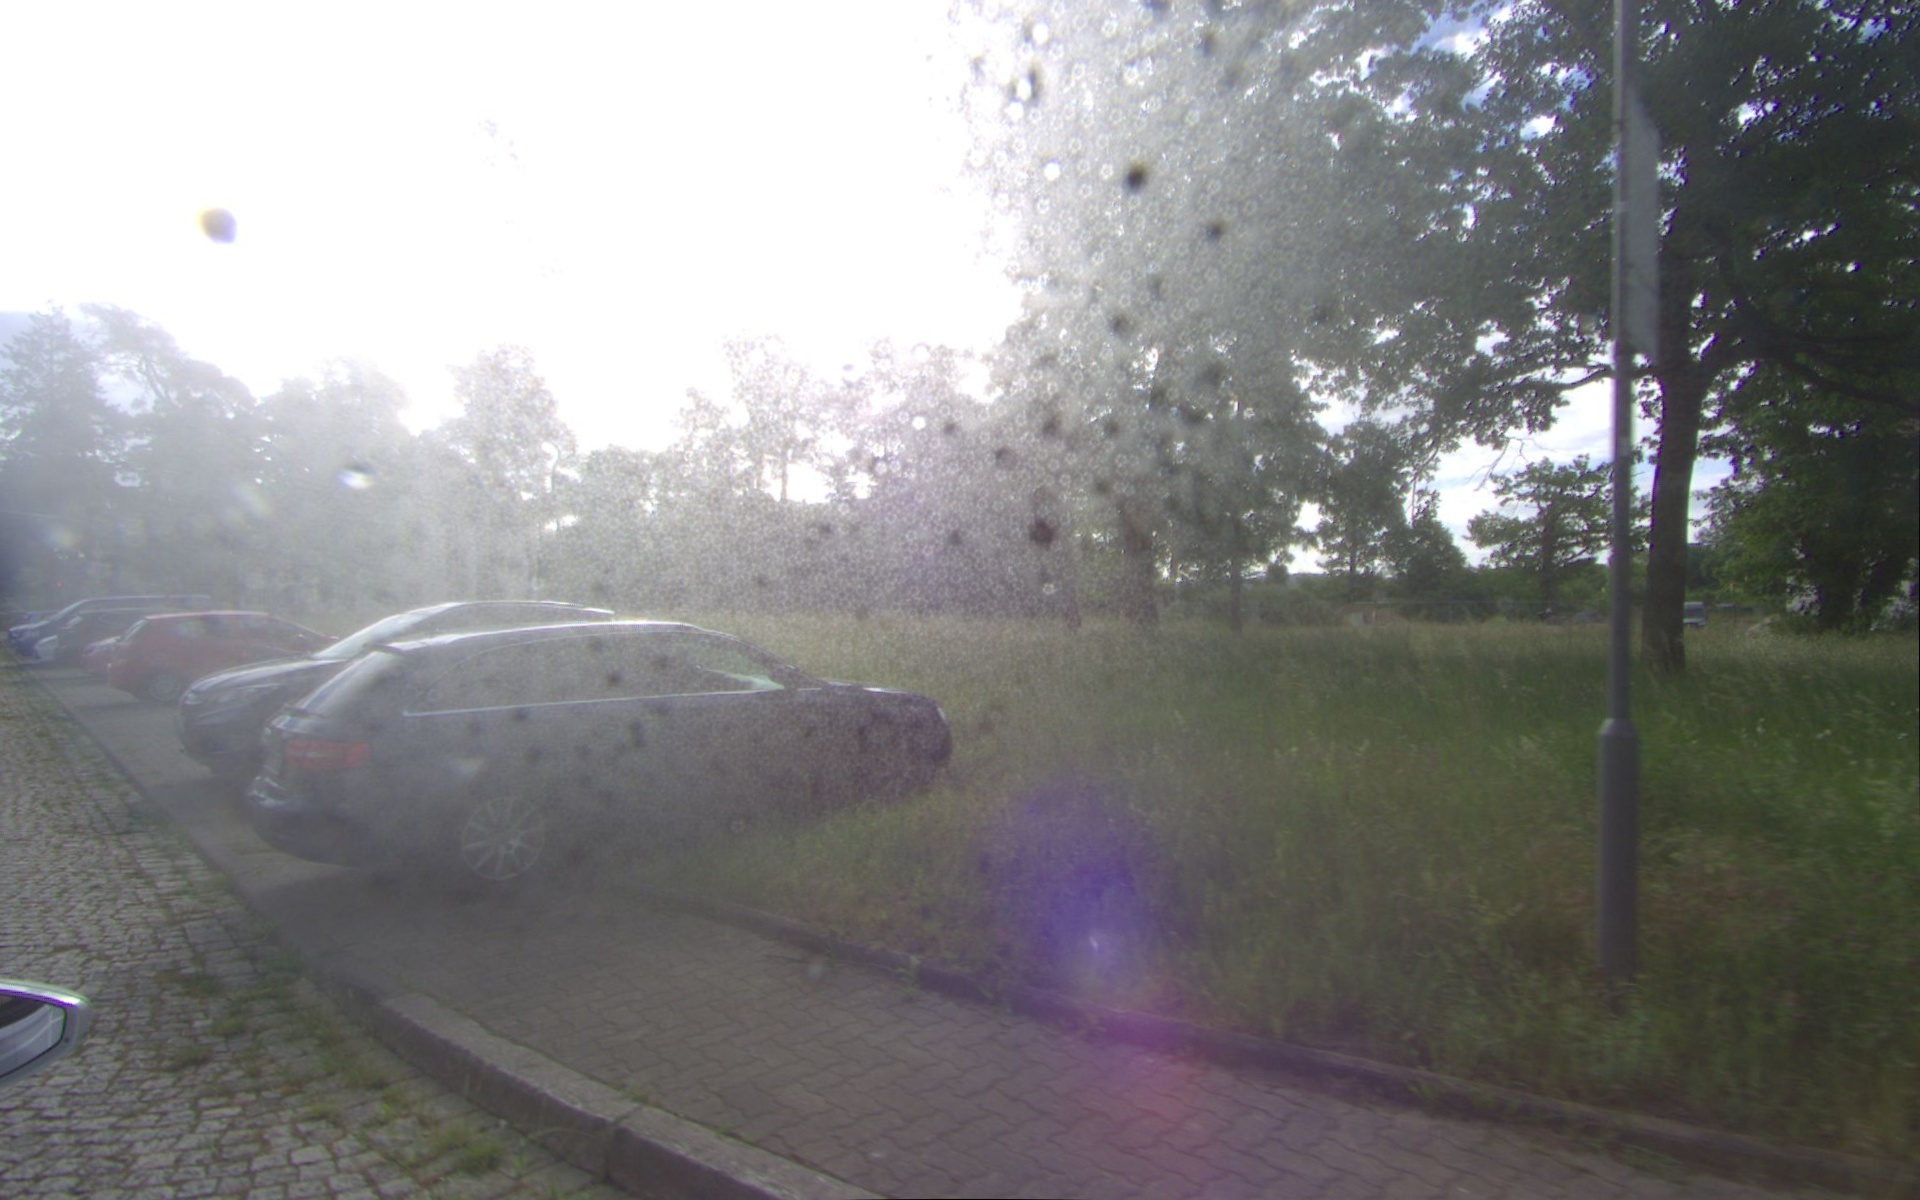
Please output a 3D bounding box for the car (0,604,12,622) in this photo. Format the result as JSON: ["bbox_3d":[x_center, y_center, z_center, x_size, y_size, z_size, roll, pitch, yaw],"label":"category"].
[{"bbox_3d":[-88.545,1.171,90.469,1.975,1.666,3.971,0,-1,39],"label":"car"}]

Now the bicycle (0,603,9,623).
[{"bbox_3d":[-78.960,1.068,81.513,0.802,1.637,2.152,0,0,38],"label":"bicycle"}]

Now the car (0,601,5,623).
[{"bbox_3d":[-91.497,1.061,92.093,1.973,2.040,5.038,0,-1,34],"label":"car"}]

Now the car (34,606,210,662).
[{"bbox_3d":[-24.249,0.930,29.065,1.636,1.443,3.702,0,1,42],"label":"car"}]

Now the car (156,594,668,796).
[{"bbox_3d":[-5.381,0.756,10.239,1.875,1.595,4.236,1,1,44],"label":"car"}]

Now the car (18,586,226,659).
[{"bbox_3d":[-25.809,0.657,30.984,1.719,2.067,4.756,1,0,43],"label":"car"}]

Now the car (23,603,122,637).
[{"bbox_3d":[-42.322,0.932,47.804,1.374,1.564,3.375,1,0,39],"label":"car"}]

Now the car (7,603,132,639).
[{"bbox_3d":[-40.693,0.913,45.832,1.644,1.564,4.105,0,0,39],"label":"car"}]

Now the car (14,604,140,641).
[{"bbox_3d":[-38.671,0.961,43.931,1.644,1.564,3.970,0,0,39],"label":"car"}]

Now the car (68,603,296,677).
[{"bbox_3d":[-17.736,0.857,22.946,1.720,1.538,3.963,0,0,45],"label":"car"}]

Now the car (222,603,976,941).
[{"bbox_3d":[-2.160,0.804,6.839,4.471,1.484,1.878,-1,1,-42],"label":"car"}]

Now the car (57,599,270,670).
[{"bbox_3d":[-19.580,0.803,24.717,1.743,1.601,3.928,0,0,43],"label":"car"}]

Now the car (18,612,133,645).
[{"bbox_3d":[-35.768,1.128,40.547,1.644,1.284,3.278,0,0,39],"label":"car"}]

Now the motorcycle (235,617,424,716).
[{"bbox_3d":[-9.113,0.917,14.573,0.598,1.292,2.254,0,0,40],"label":"motorcycle"}]

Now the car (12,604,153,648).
[{"bbox_3d":[-31.941,0.919,36.540,1.641,1.526,3.588,0,0,34],"label":"car"}]

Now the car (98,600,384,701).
[{"bbox_3d":[-12.467,0.784,17.527,1.719,1.526,3.817,0,1,44],"label":"car"}]

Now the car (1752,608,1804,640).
[{"bbox_3d":[54.457,1.603,66.759,2.455,2.039,5.798,-1,-2,37],"label":"car"}]
